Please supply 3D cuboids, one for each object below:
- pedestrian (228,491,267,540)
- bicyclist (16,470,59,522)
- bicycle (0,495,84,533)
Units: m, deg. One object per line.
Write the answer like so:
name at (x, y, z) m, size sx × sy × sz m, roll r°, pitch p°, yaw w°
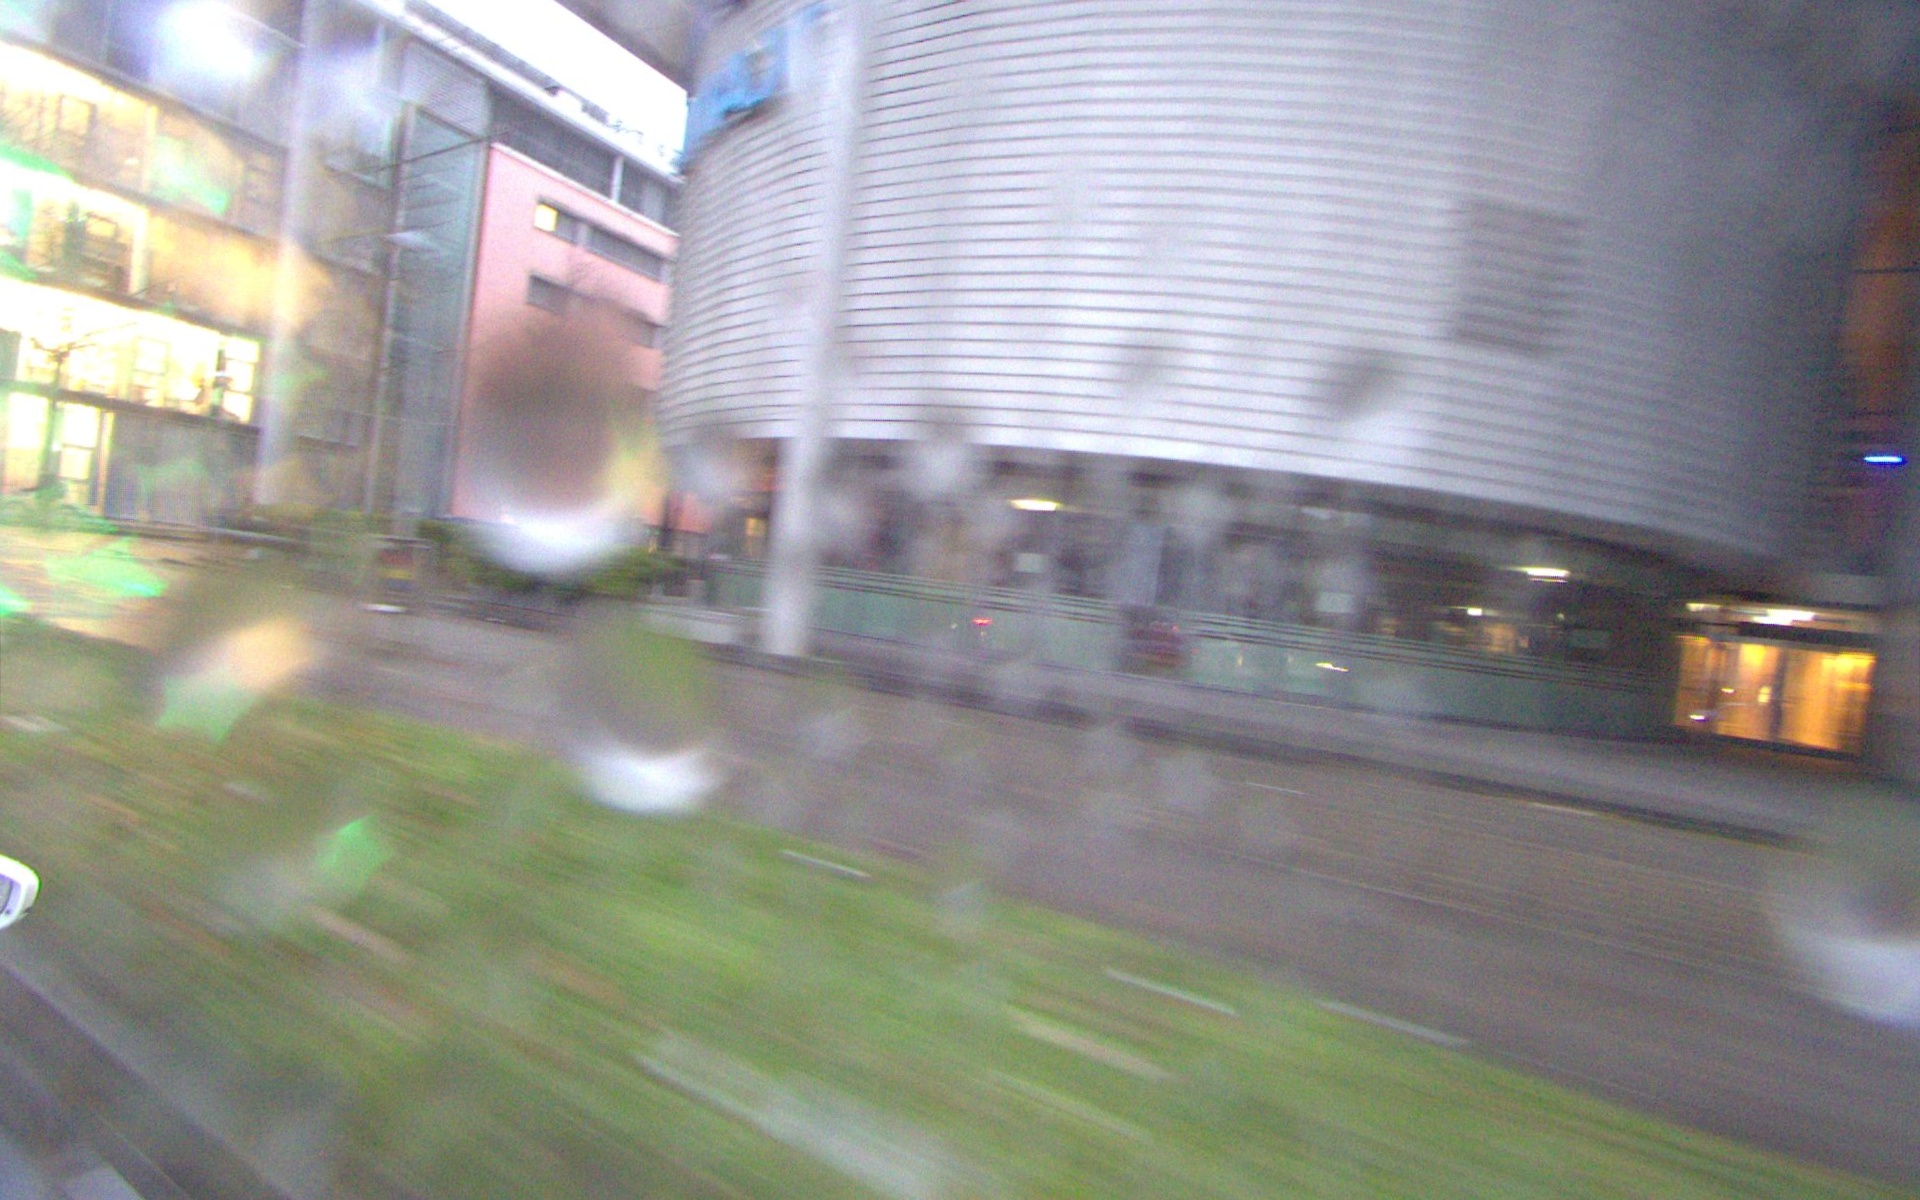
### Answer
pedestrian at (-26.582, -3.162, 37.555) m, size 0.714 × 1.673 × 0.809 m, roll 7°, pitch -1°, yaw 33°
bicyclist at (-26.282, -2.966, 28.673) m, size 0.616 × 1.346 × 0.562 m, roll 8°, pitch -1°, yaw -26°
bicycle at (-26.253, -2.437, 28.689) m, size 1.713 × 0.754 × 0.647 m, roll 9°, pitch -1°, yaw -26°
